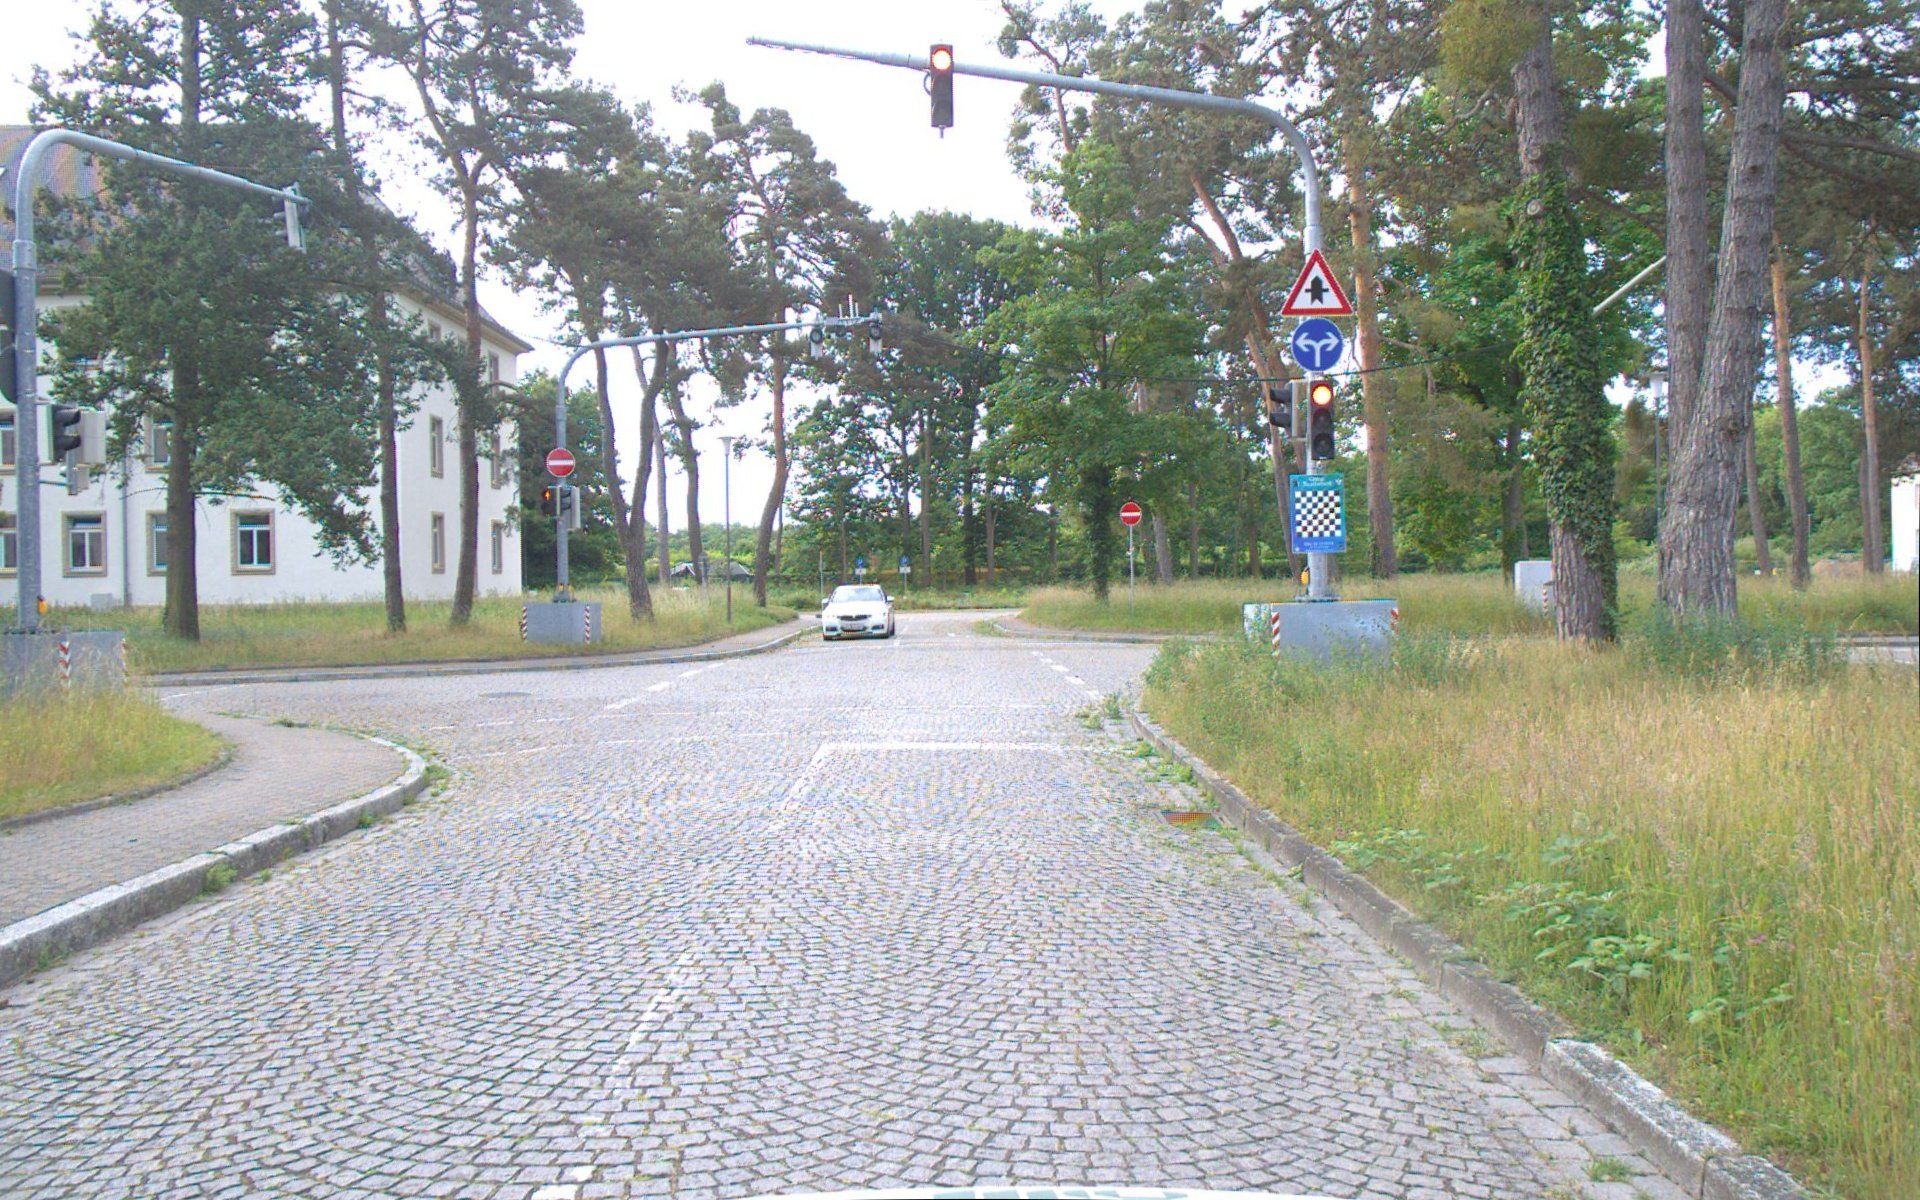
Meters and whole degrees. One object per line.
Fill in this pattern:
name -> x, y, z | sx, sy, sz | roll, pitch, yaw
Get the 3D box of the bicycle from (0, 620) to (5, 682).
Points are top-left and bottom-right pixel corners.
bicycle -> -17.348, 0.906, 28.511 | 1.435, 1.084, 0.516 | -2, 0, -3

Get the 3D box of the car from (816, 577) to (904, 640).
car -> -2.655, 0.189, 44.939 | 1.736, 1.463, 4.221 | -4, 1, 4

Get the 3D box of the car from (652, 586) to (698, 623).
car -> -14.862, 0.201, 86.389 | 1.954, 1.878, 3.997 | 0, 0, -4
